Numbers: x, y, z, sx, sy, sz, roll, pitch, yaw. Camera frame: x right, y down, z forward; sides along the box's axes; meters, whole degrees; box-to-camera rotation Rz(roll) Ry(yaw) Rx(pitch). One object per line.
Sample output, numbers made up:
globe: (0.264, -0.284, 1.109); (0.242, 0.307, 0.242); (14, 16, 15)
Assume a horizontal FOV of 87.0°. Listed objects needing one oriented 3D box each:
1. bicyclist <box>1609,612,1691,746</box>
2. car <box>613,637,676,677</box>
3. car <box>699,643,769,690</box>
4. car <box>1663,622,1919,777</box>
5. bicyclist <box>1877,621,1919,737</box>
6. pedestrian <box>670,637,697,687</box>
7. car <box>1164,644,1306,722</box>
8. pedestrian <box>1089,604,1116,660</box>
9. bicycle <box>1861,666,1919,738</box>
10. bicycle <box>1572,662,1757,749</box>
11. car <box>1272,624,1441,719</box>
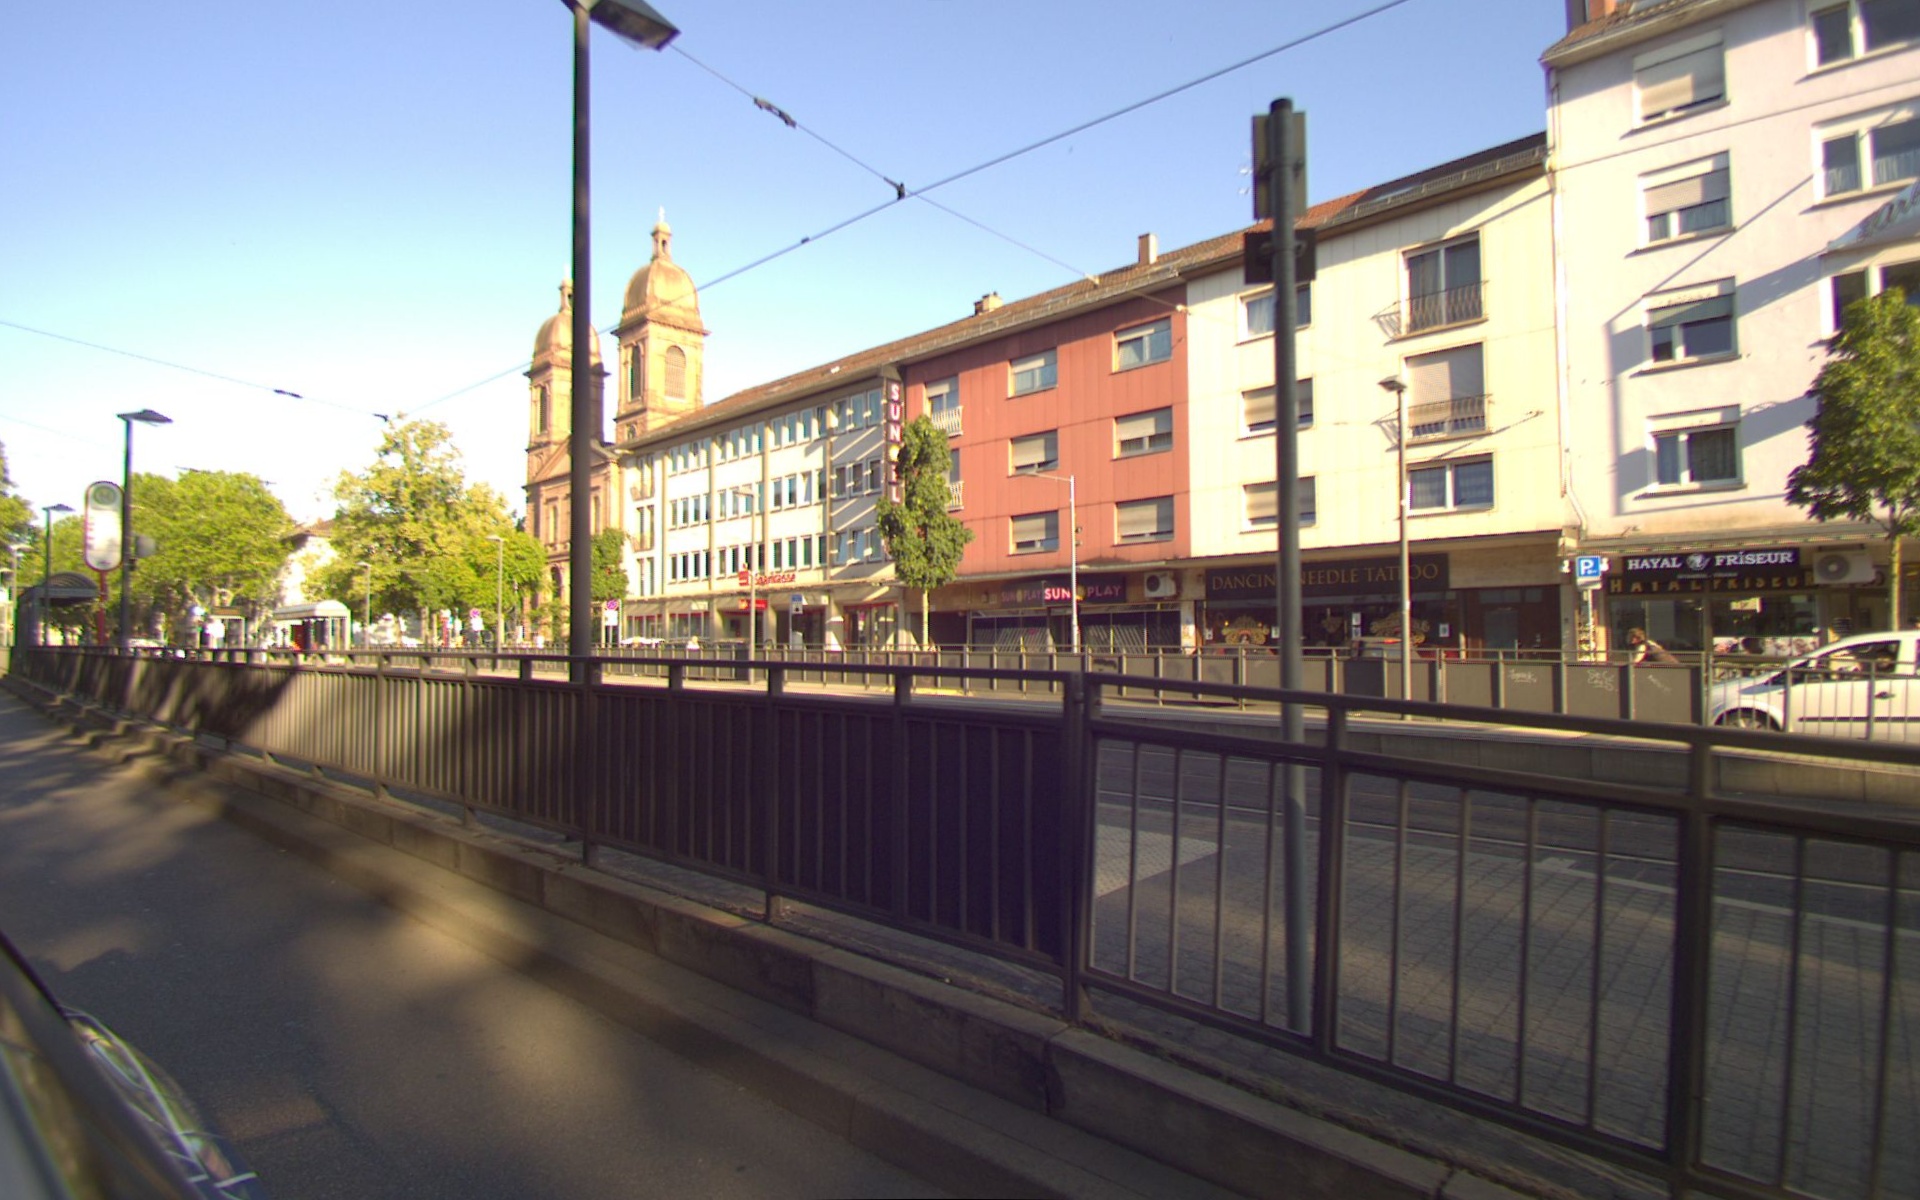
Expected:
bicyclist: (10.877, 1.228, 15.955); (0.911, 2.029, 0.755); (-3, -4, 42)
car: (-13.439, 2.413, 43.315); (1.717, 1.497, 4.003); (-1, -1, -4)
car: (-8.495, 2.468, 38.268); (1.843, 1.541, 4.001); (-1, -1, -2)
car: (11.277, 1.143, 12.146); (4.435, 1.730, 1.972); (-3, -3, 42)
bicyclist: (16.036, 1.307, 16.785); (0.683, 1.901, 1.059); (3, -5, -38)
pedestrian: (-10.274, 2.289, 37.648); (0.758, 1.801, 0.725); (-1, -1, 1)
car: (6.408, 1.887, 24.021); (1.834, 1.502, 3.777); (-2, 0, -8)
pedestrian: (4.804, 1.094, 34.102); (0.589, 1.863, 0.734); (-2, -3, 38)
bicycle: (16.248, 1.669, 16.491); (0.696, 1.168, 2.202); (2, -4, -39)
bicycle: (10.976, 1.608, 15.844); (2.278, 1.239, 0.710); (-3, -4, 43)
car: (8.775, 1.520, 22.772); (1.834, 1.813, 3.777); (-2, 0, -8)
